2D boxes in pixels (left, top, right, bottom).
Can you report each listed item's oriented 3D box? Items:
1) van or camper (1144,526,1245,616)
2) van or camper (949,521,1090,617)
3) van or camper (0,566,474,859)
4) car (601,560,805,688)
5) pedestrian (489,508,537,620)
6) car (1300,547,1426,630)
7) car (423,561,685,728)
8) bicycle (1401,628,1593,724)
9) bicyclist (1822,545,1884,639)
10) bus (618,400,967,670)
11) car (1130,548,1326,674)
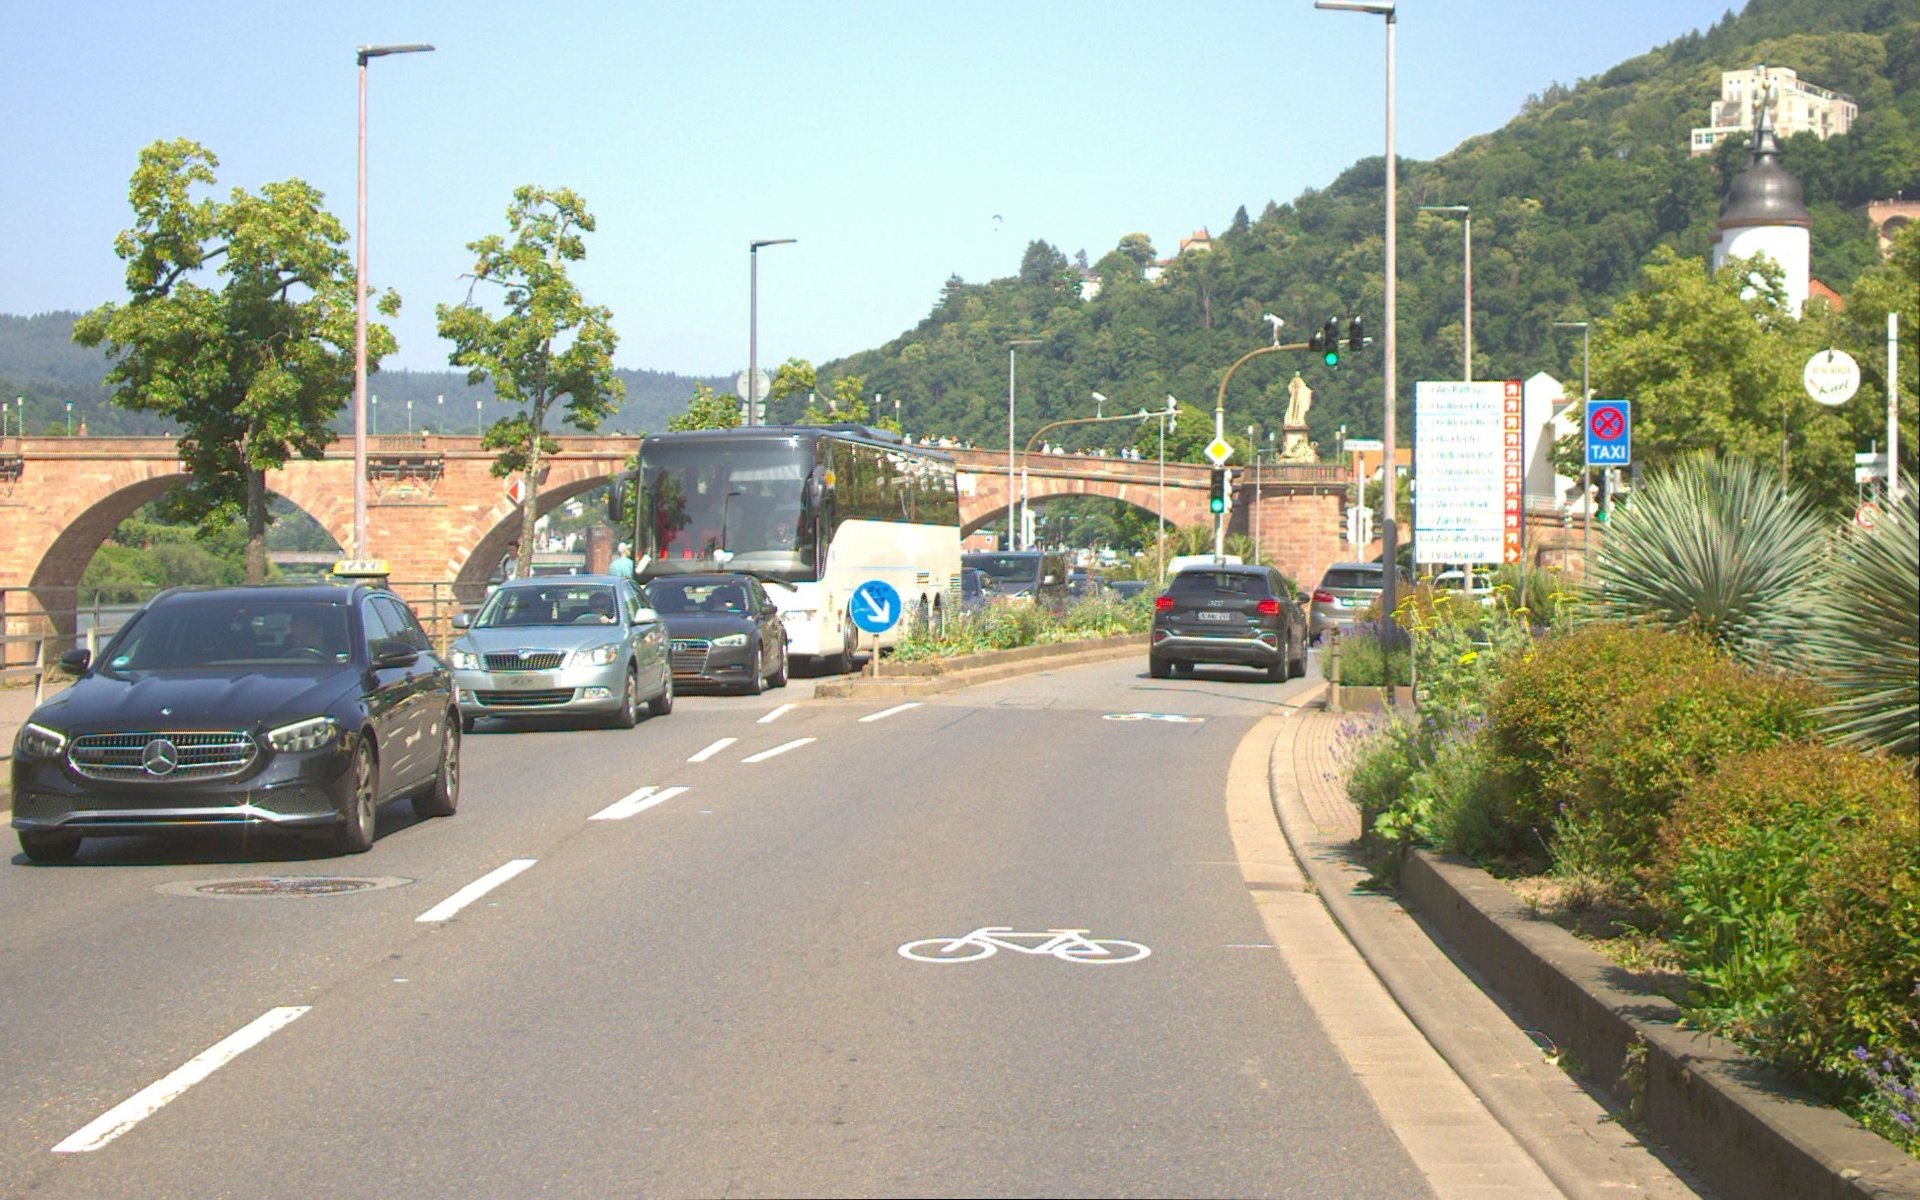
[{"bbox_3d":[6.779,-0.786,98.875,1.995,2.441,5.491,-1,-1,13],"label":"van or camper"},{"bbox_3d":[1.257,-0.612,69.897,1.994,1.867,5.177,-1,0,11],"label":"van or camper"},{"bbox_3d":[-4.143,0.569,19.963,1.993,1.450,4.683,-2,0,-1],"label":"van or camper"},{"bbox_3d":[-3.006,0.246,41.020,1.817,1.424,4.192,-1,1,4],"label":"car"},{"bbox_3d":[-7.138,-0.572,54.864,0.620,1.774,0.662,0,0,5],"label":"pedestrian"},{"bbox_3d":[7.437,-0.223,63.109,1.927,1.456,4.829,0,1,11],"label":"car"},{"bbox_3d":[-3.838,0.382,33.215,1.813,1.423,4.310,-1,1,2],"label":"car"},{"bbox_3d":[5.327,0.752,34.161,1.810,0.875,0.502,2,1,1],"label":"bicycle"},{"bbox_3d":[15.259,-0.139,58.779,0.766,1.578,1.089,0,0,-1],"label":"bicyclist"},{"bbox_3d":[-2.212,-0.822,51.835,2.632,3.552,12.977,0,0,9],"label":"bus"},{"bbox_3d":[3.631,0.148,45.800,1.927,1.548,4.829,1,0,12],"label":"car"}]
